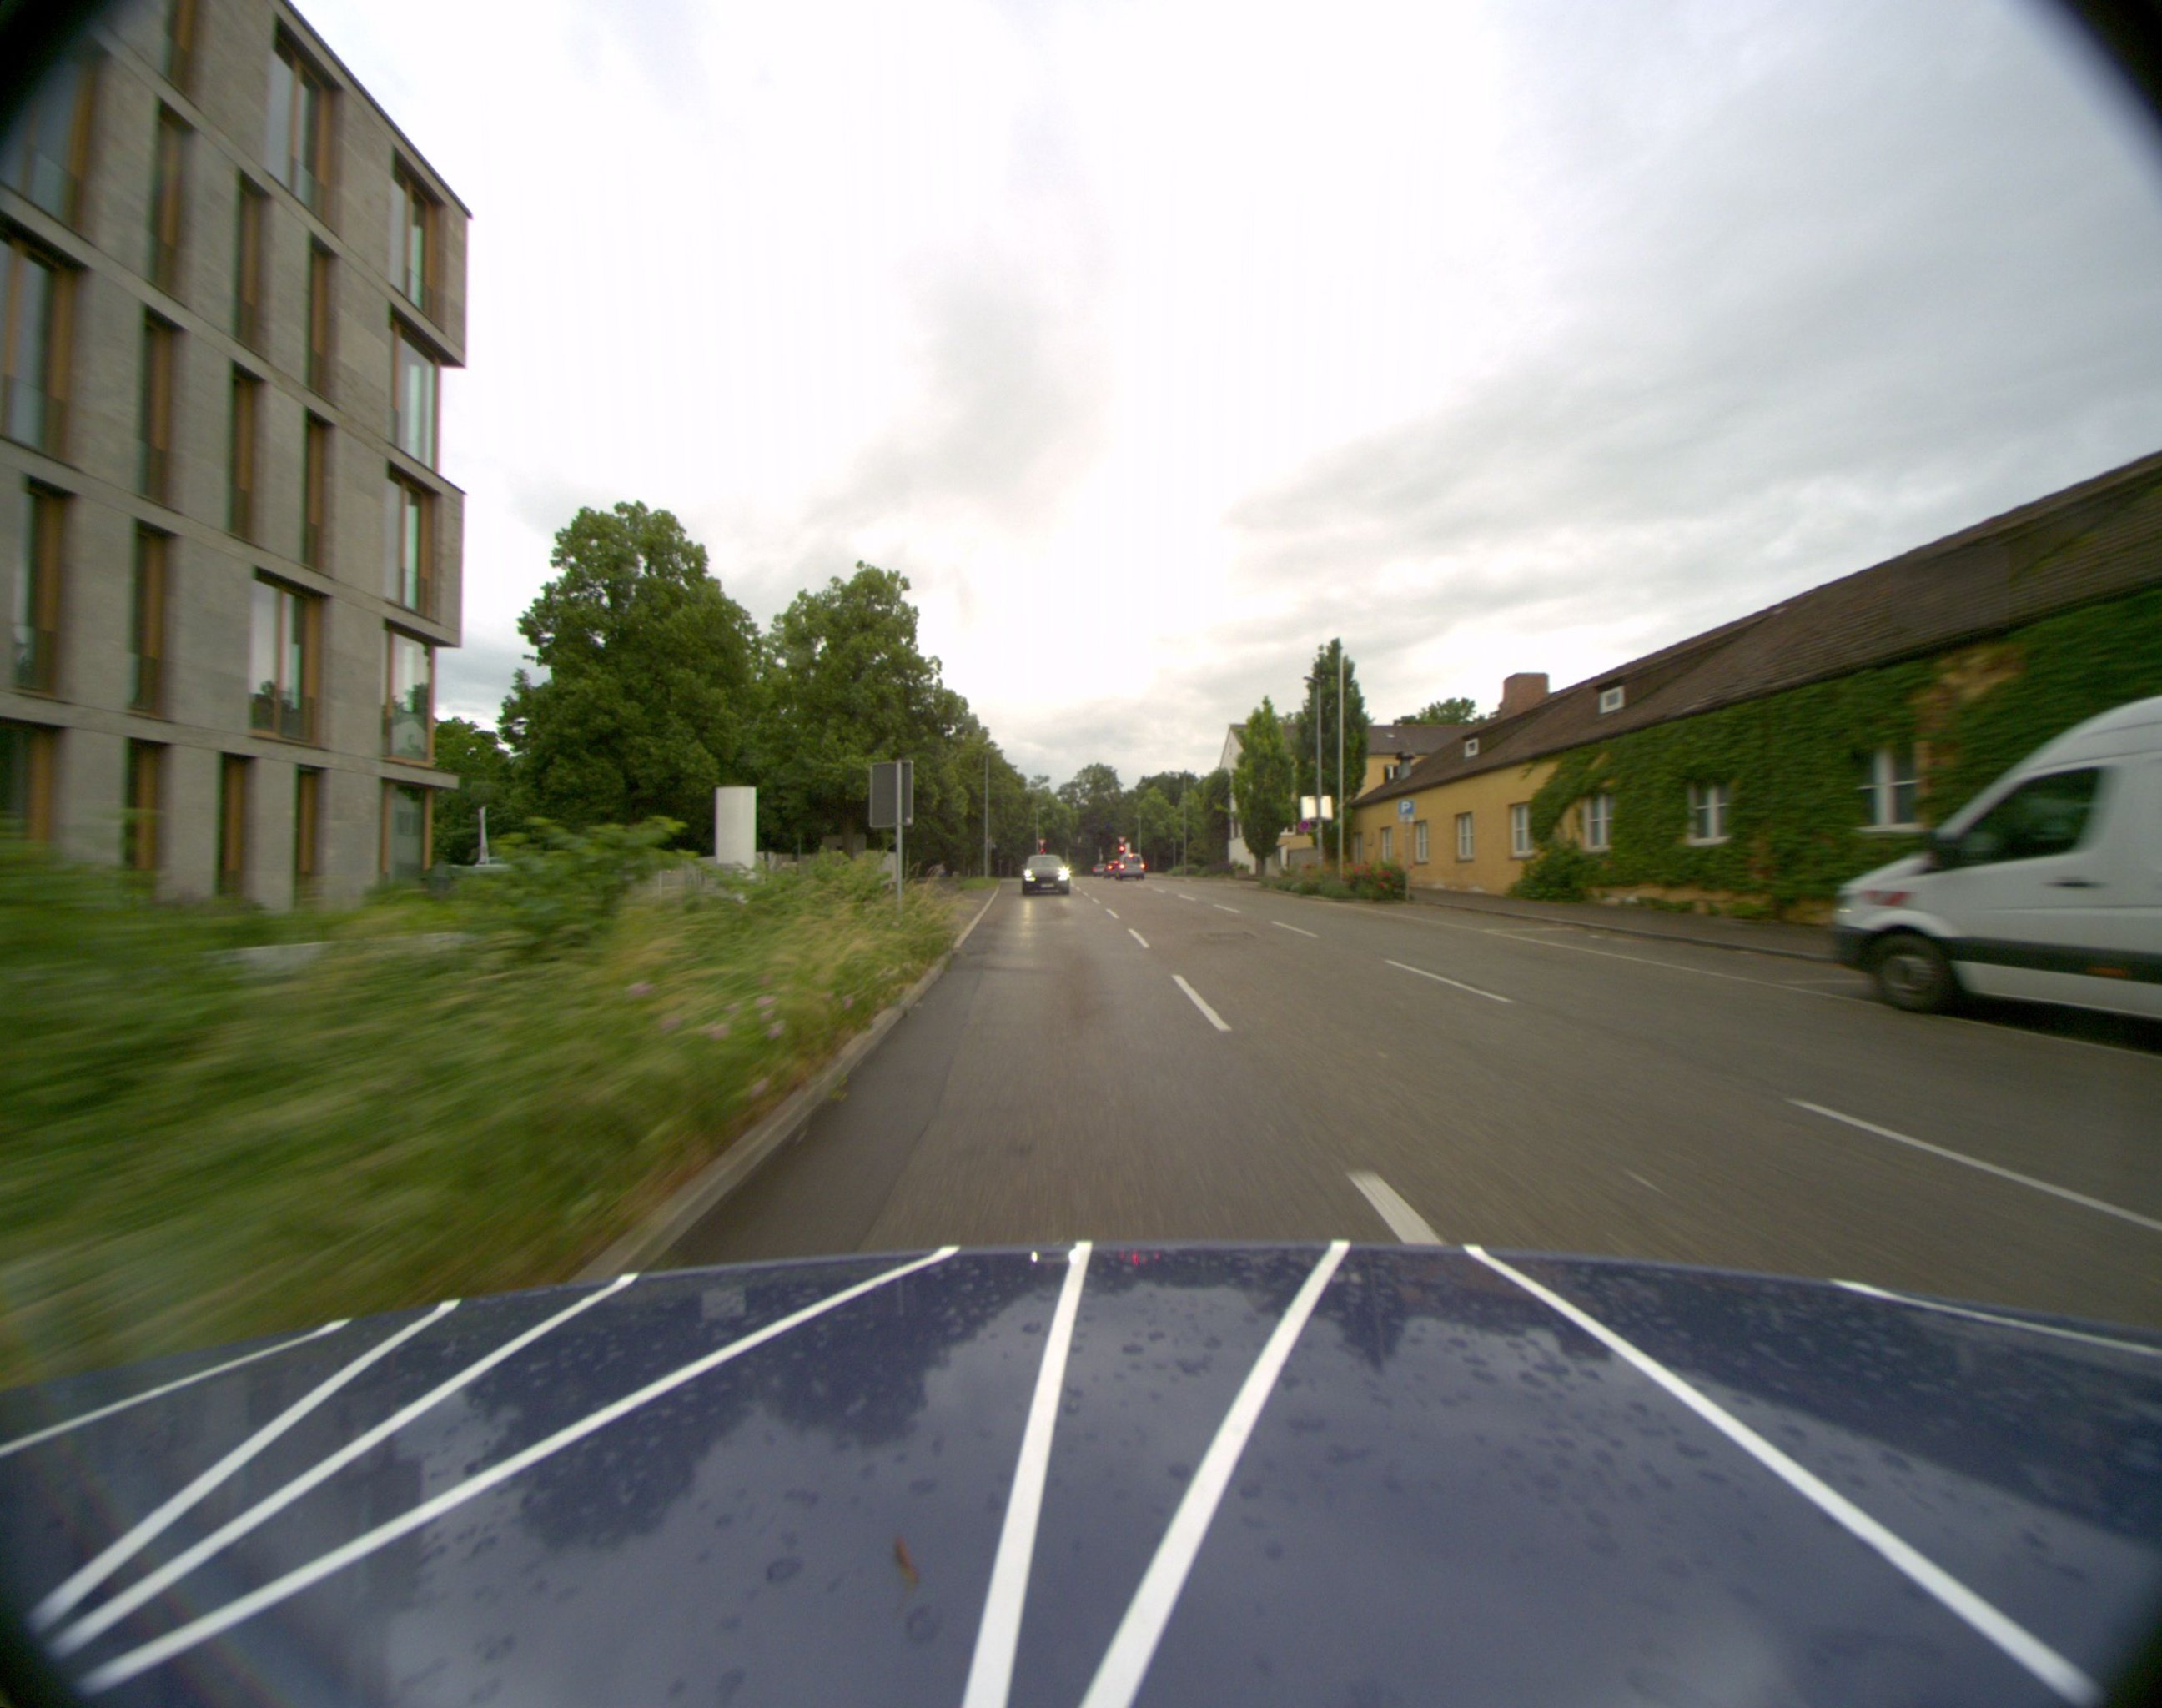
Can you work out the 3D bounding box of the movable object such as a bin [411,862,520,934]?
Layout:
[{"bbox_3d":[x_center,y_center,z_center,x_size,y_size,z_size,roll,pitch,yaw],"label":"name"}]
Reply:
[{"bbox_3d":[-13.618,0.947,16.869,1.198,1.495,1.388,-1,1,5],"label":"movable object such as a bin"}]

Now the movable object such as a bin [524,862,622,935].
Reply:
[{"bbox_3d":[-11.046,0.944,16.569,1.249,1.449,1.111,-4,1,7],"label":"movable object such as a bin"}]

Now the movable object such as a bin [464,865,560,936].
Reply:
[{"bbox_3d":[-12.362,0.996,16.545,1.100,1.391,1.150,-4,1,7],"label":"movable object such as a bin"}]

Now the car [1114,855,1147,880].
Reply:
[{"bbox_3d":[3.505,0.925,54.601,1.900,1.695,4.508,-1,1,-2],"label":"car"}]

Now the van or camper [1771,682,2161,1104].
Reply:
[{"bbox_3d":[8.214,0.234,4.681,2.346,2.748,6.142,-1,0,0],"label":"van or camper"}]

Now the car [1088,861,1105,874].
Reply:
[{"bbox_3d":[2.037,1.833,99.752,1.925,1.618,4.344,-1,-1,-2],"label":"car"}]

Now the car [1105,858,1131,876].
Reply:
[{"bbox_3d":[3.224,1.097,67.320,1.887,1.449,4.468,-1,0,-3],"label":"car"}]

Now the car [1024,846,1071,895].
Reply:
[{"bbox_3d":[-1.443,0.652,33.118,1.848,1.961,4.343,-1,1,-2],"label":"car"}]
